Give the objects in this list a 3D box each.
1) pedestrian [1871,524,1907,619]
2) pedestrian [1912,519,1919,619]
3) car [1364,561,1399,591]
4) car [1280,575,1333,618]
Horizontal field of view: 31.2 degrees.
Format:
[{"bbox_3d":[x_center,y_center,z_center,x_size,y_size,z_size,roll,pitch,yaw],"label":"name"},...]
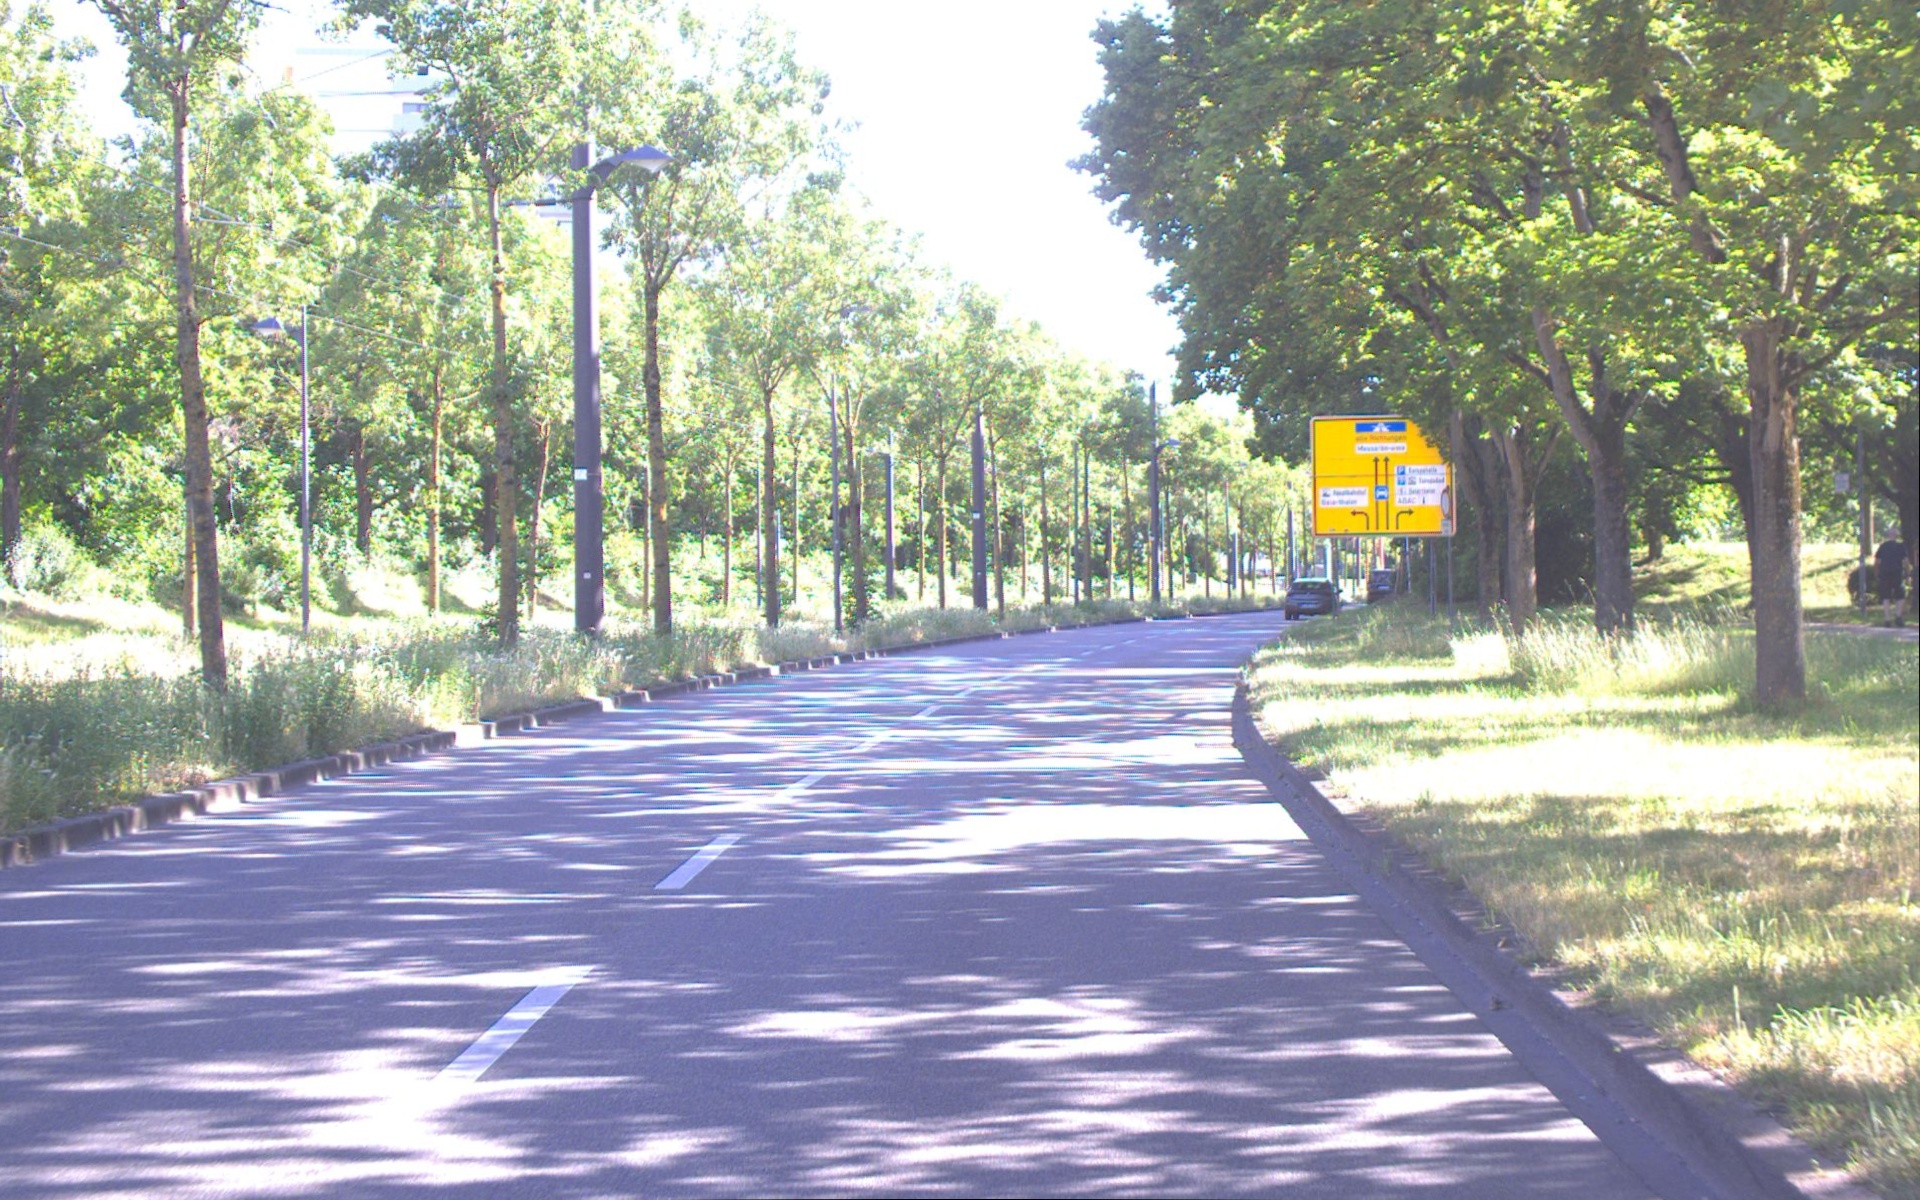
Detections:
[{"bbox_3d":[15.961,-0.488,59.036,0.547,1.616,0.843,-1,0,16],"label":"pedestrian"},{"bbox_3d":[16.623,-0.535,58.736,0.636,1.686,0.843,-1,0,16],"label":"pedestrian"},{"bbox_3d":[21.213,-1.206,172.915,1.635,1.493,4.233,0,1,9],"label":"car"},{"bbox_3d":[12.254,-0.138,121.441,1.635,1.493,4.233,0,1,9],"label":"car"}]
